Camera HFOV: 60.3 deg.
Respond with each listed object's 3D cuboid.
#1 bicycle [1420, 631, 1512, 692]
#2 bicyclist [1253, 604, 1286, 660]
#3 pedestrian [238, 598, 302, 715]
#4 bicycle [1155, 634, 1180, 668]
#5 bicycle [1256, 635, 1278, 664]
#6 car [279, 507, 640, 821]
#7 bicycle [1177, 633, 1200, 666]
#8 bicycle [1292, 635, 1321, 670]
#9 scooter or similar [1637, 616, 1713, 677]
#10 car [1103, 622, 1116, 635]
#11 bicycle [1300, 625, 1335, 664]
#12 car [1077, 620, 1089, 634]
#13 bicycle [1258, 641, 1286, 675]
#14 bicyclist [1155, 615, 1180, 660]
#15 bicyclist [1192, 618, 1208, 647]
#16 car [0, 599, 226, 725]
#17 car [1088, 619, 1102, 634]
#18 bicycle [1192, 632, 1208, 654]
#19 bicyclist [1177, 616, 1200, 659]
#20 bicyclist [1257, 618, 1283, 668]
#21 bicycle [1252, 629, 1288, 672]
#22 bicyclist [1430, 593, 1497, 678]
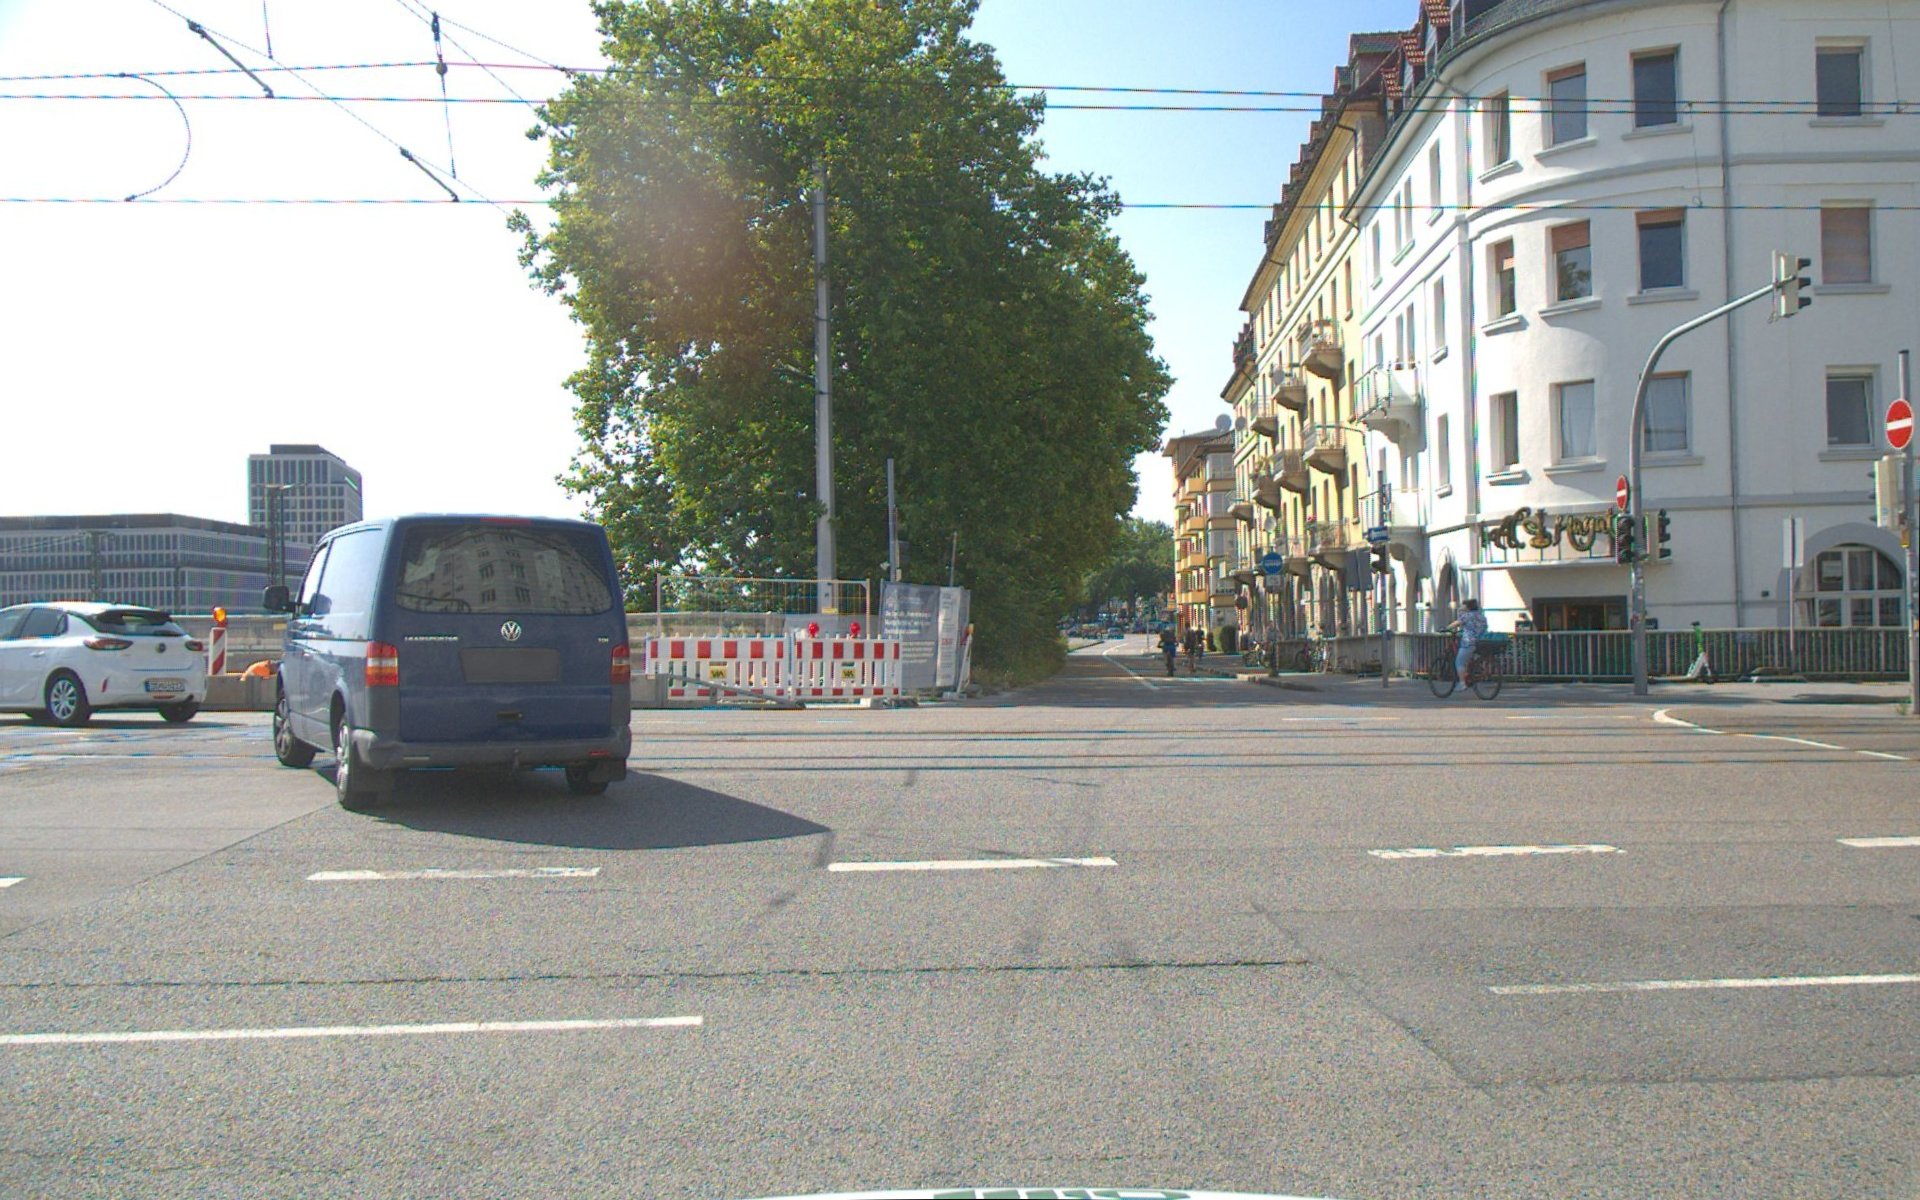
[{"bbox_3d":[8.769,1.057,28.782,0.848,1.007,2.245,0,-1,-2],"label":"bicycle"},{"bbox_3d":[8.523,0.877,45.563,0.819,1.534,0.953,0,-1,8],"label":"bicyclist"},{"bbox_3d":[-11.159,0.899,26.744,0.852,1.826,0.814,-1,1,-29],"label":"pedestrian"},{"bbox_3d":[7.236,1.770,57.612,0.819,1.156,2.861,0,-1,8],"label":"bicycle"},{"bbox_3d":[11.997,1.933,64.596,0.666,1.094,2.294,-1,-1,6],"label":"bicycle"},{"bbox_3d":[-3.903,0.370,12.436,1.796,1.939,4.015,-1,1,-29],"label":"car"},{"bbox_3d":[8.359,1.804,60.549,0.819,1.156,2.861,0,-1,8],"label":"bicycle"},{"bbox_3d":[11.253,1.700,53.770,0.666,1.094,2.294,-1,-1,6],"label":"bicycle"},{"bbox_3d":[13.457,0.880,31.160,1.273,1.137,0.339,-1,-1,17],"label":"scooter or similar"},{"bbox_3d":[19.453,3.677,215.511,1.592,1.651,3.698,0,1,4],"label":"car"},{"bbox_3d":[10.823,1.337,50.139,0.819,1.156,2.861,0,-1,8],"label":"bicycle"},{"bbox_3d":[16.053,3.497,215.585,1.592,1.651,3.698,0,1,4],"label":"car"},{"bbox_3d":[10.095,1.871,53.633,0.693,1.008,1.821,-3,0,6],"label":"bicycle"},{"bbox_3d":[7.221,1.294,57.501,0.819,1.564,1.024,0,-1,8],"label":"bicyclist"},{"bbox_3d":[12.769,1.730,88.071,0.819,1.564,1.024,0,-1,8],"label":"bicyclist"},{"bbox_3d":[-10.878,0.744,20.265,3.334,1.430,1.721,-1,-1,26],"label":"car"},{"bbox_3d":[15.712,3.030,192.933,1.592,1.651,3.698,0,1,4],"label":"car"},{"bbox_3d":[12.793,2.292,88.141,0.819,1.156,2.861,0,-1,8],"label":"bicycle"},{"bbox_3d":[8.364,1.366,60.569,0.819,1.564,1.024,0,-1,8],"label":"bicyclist"},{"bbox_3d":[10.080,1.401,53.727,0.693,1.577,0.785,-3,0,5],"label":"bicyclist"},{"bbox_3d":[8.546,1.371,45.649,0.819,1.156,2.861,0,-1,8],"label":"bicycle"},{"bbox_3d":[8.766,0.616,28.830,0.848,1.440,0.917,0,-1,-2],"label":"bicyclist"}]
